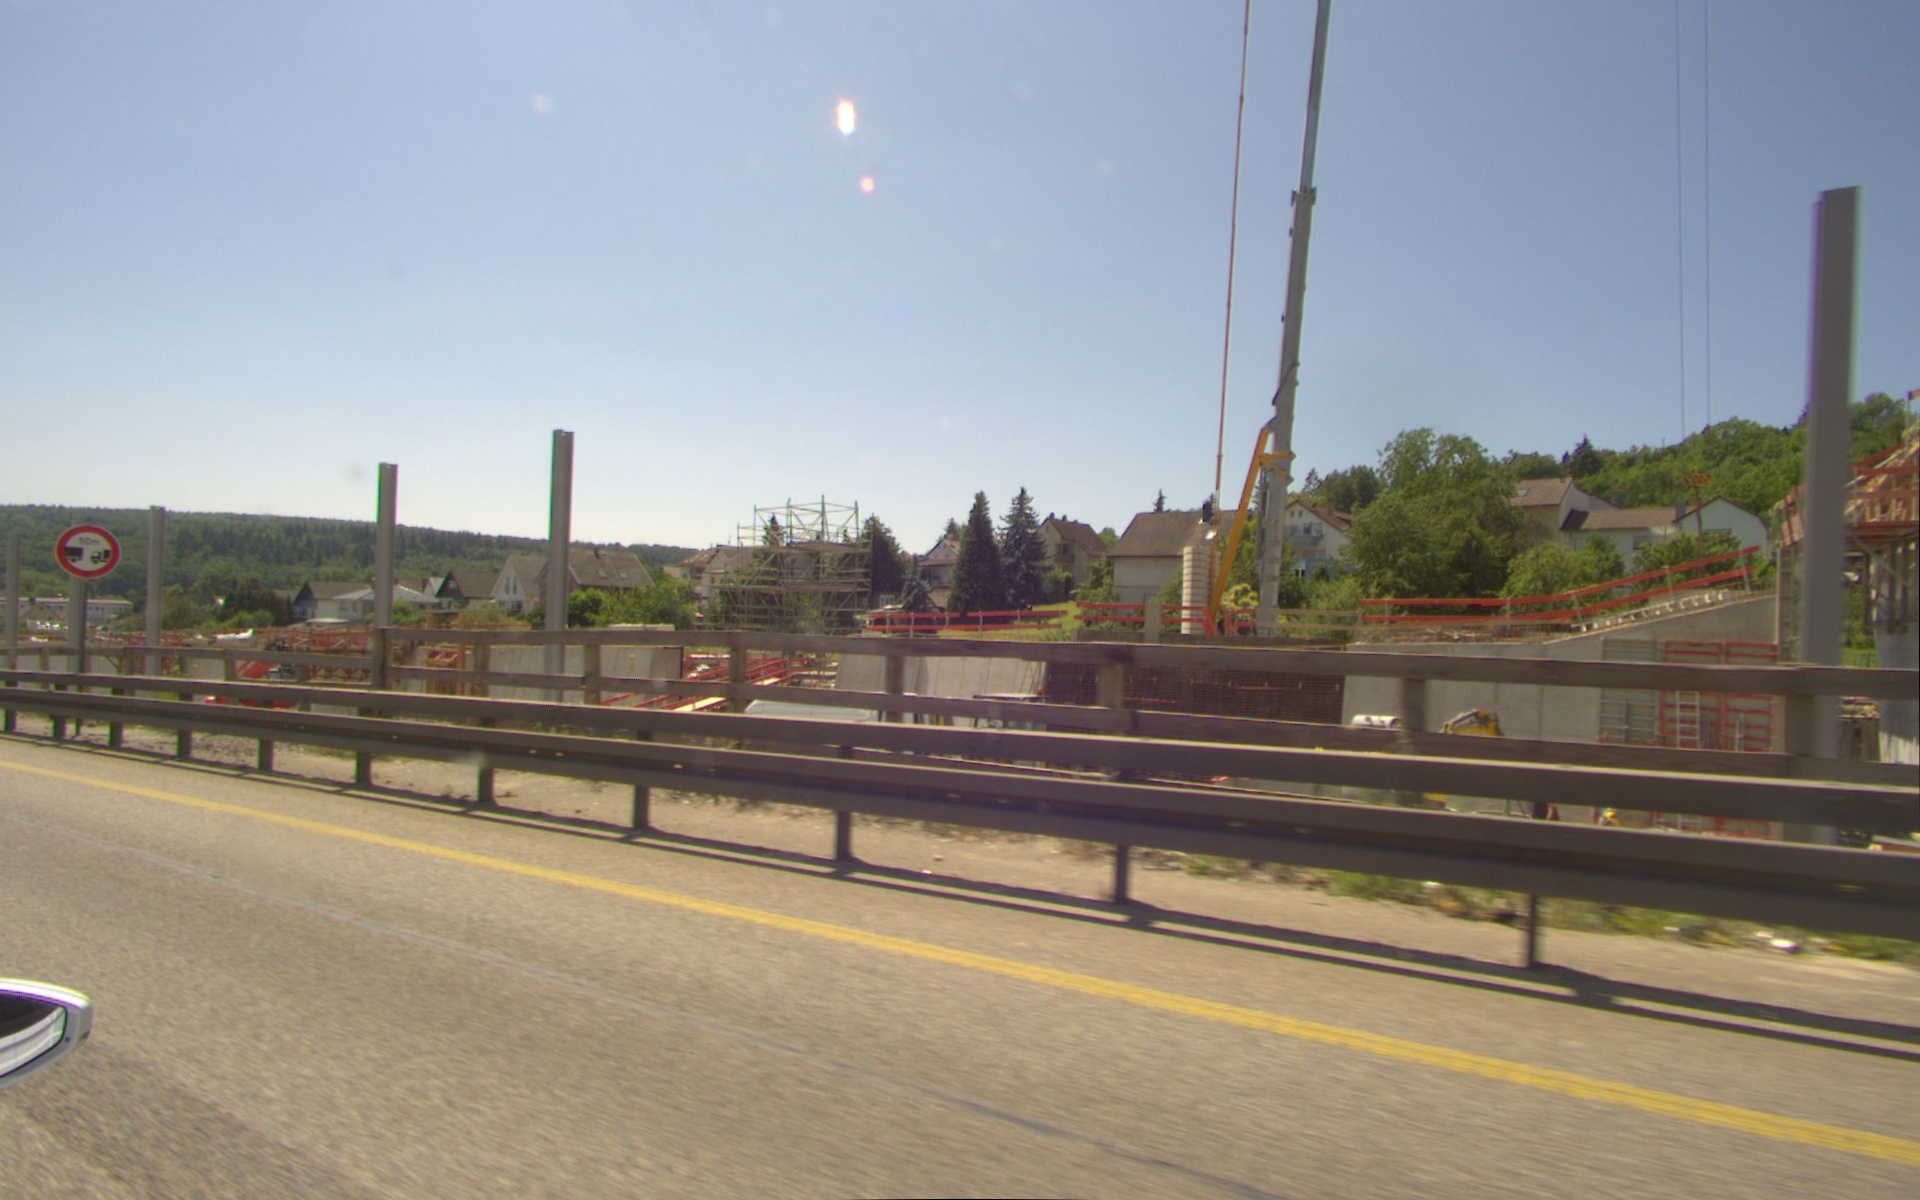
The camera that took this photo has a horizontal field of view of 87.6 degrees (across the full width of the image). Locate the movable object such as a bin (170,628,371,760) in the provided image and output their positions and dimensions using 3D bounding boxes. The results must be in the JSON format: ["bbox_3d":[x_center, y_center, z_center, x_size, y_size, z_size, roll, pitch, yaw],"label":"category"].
[{"bbox_3d":[-28.056,3.643,40.593,9.518,4.803,3.222,-2,-2,32],"label":"movable object such as a bin"}]

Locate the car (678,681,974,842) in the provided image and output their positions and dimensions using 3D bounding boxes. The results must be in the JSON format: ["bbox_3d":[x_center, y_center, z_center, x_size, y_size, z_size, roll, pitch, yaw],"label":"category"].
[{"bbox_3d":[-3.148,3.346,22.187,6.932,2.892,2.138,-2,-2,36],"label":"car"}]

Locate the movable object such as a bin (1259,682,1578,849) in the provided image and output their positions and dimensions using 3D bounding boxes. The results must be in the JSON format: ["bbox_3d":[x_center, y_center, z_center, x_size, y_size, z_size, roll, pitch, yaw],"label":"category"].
[{"bbox_3d":[10.539,3.802,22.740,7.080,2.931,3.475,12,-9,-35],"label":"movable object such as a bin"}]

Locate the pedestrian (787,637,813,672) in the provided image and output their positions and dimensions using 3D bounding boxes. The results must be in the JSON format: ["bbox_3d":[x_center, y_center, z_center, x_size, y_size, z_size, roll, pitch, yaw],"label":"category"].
[{"bbox_3d":[-9.377,3.194,58.629,0.960,2.013,1.134,-2,-2,35],"label":"pedestrian"}]

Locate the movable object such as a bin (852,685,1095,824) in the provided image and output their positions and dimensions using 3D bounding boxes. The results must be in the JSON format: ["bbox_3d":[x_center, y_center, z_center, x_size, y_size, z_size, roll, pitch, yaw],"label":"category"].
[{"bbox_3d":[0.223,3.423,23.327,5.430,2.710,2.138,-2,-2,37],"label":"movable object such as a bin"}]
